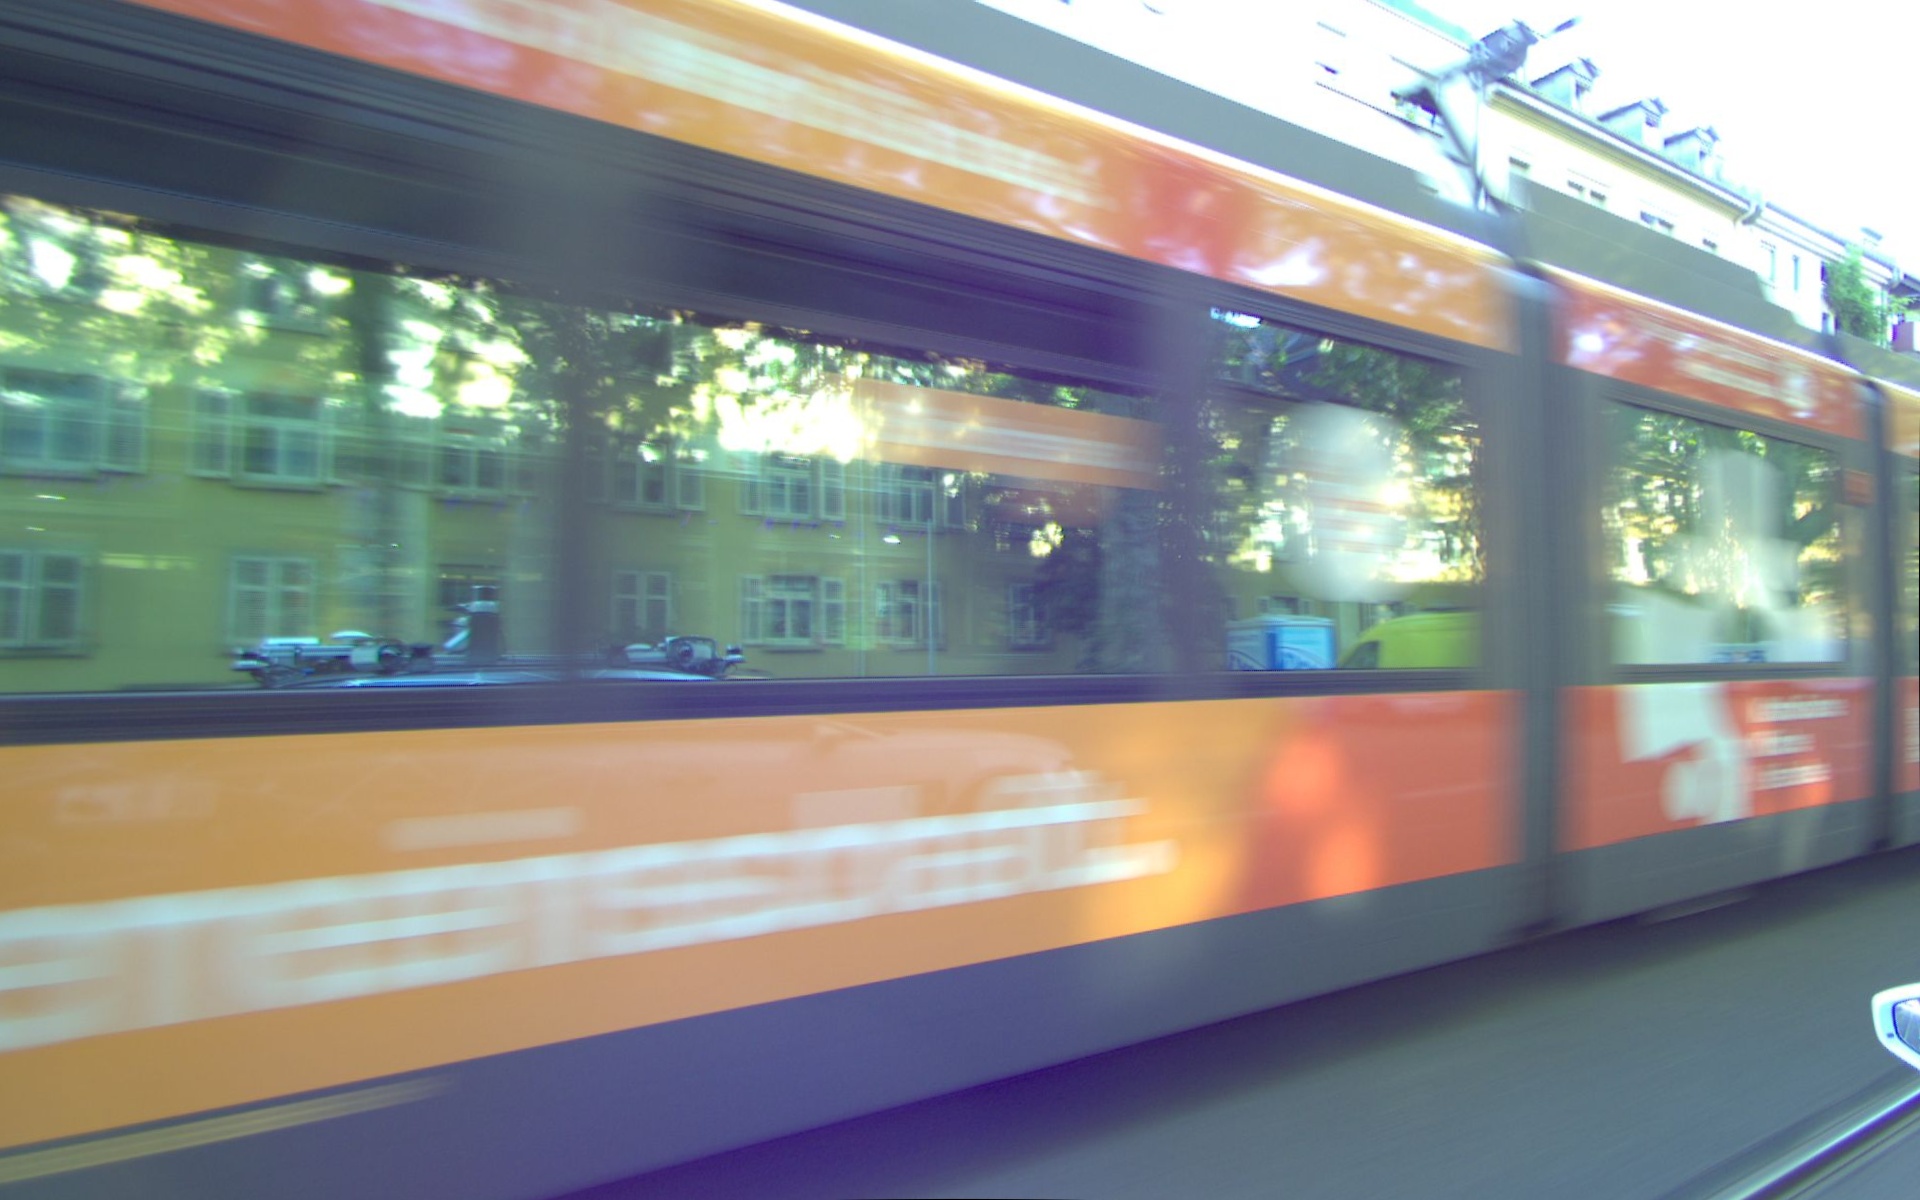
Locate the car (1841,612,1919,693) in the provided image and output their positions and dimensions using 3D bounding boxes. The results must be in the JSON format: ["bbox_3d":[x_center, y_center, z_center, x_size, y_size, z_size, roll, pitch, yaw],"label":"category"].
[{"bbox_3d":[23.387,1.257,24.457,4.423,1.794,1.778,2,0,-33],"label":"car"}]

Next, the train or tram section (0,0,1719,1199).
[{"bbox_3d":[-3.197,-0.523,2.170,13.214,3.532,2.894,2,-1,-31],"label":"train or tram section"}]

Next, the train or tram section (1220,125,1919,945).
[{"bbox_3d":[8.559,-0.073,9.162,14.033,3.532,2.894,2,-1,-31],"label":"train or tram section"}]
